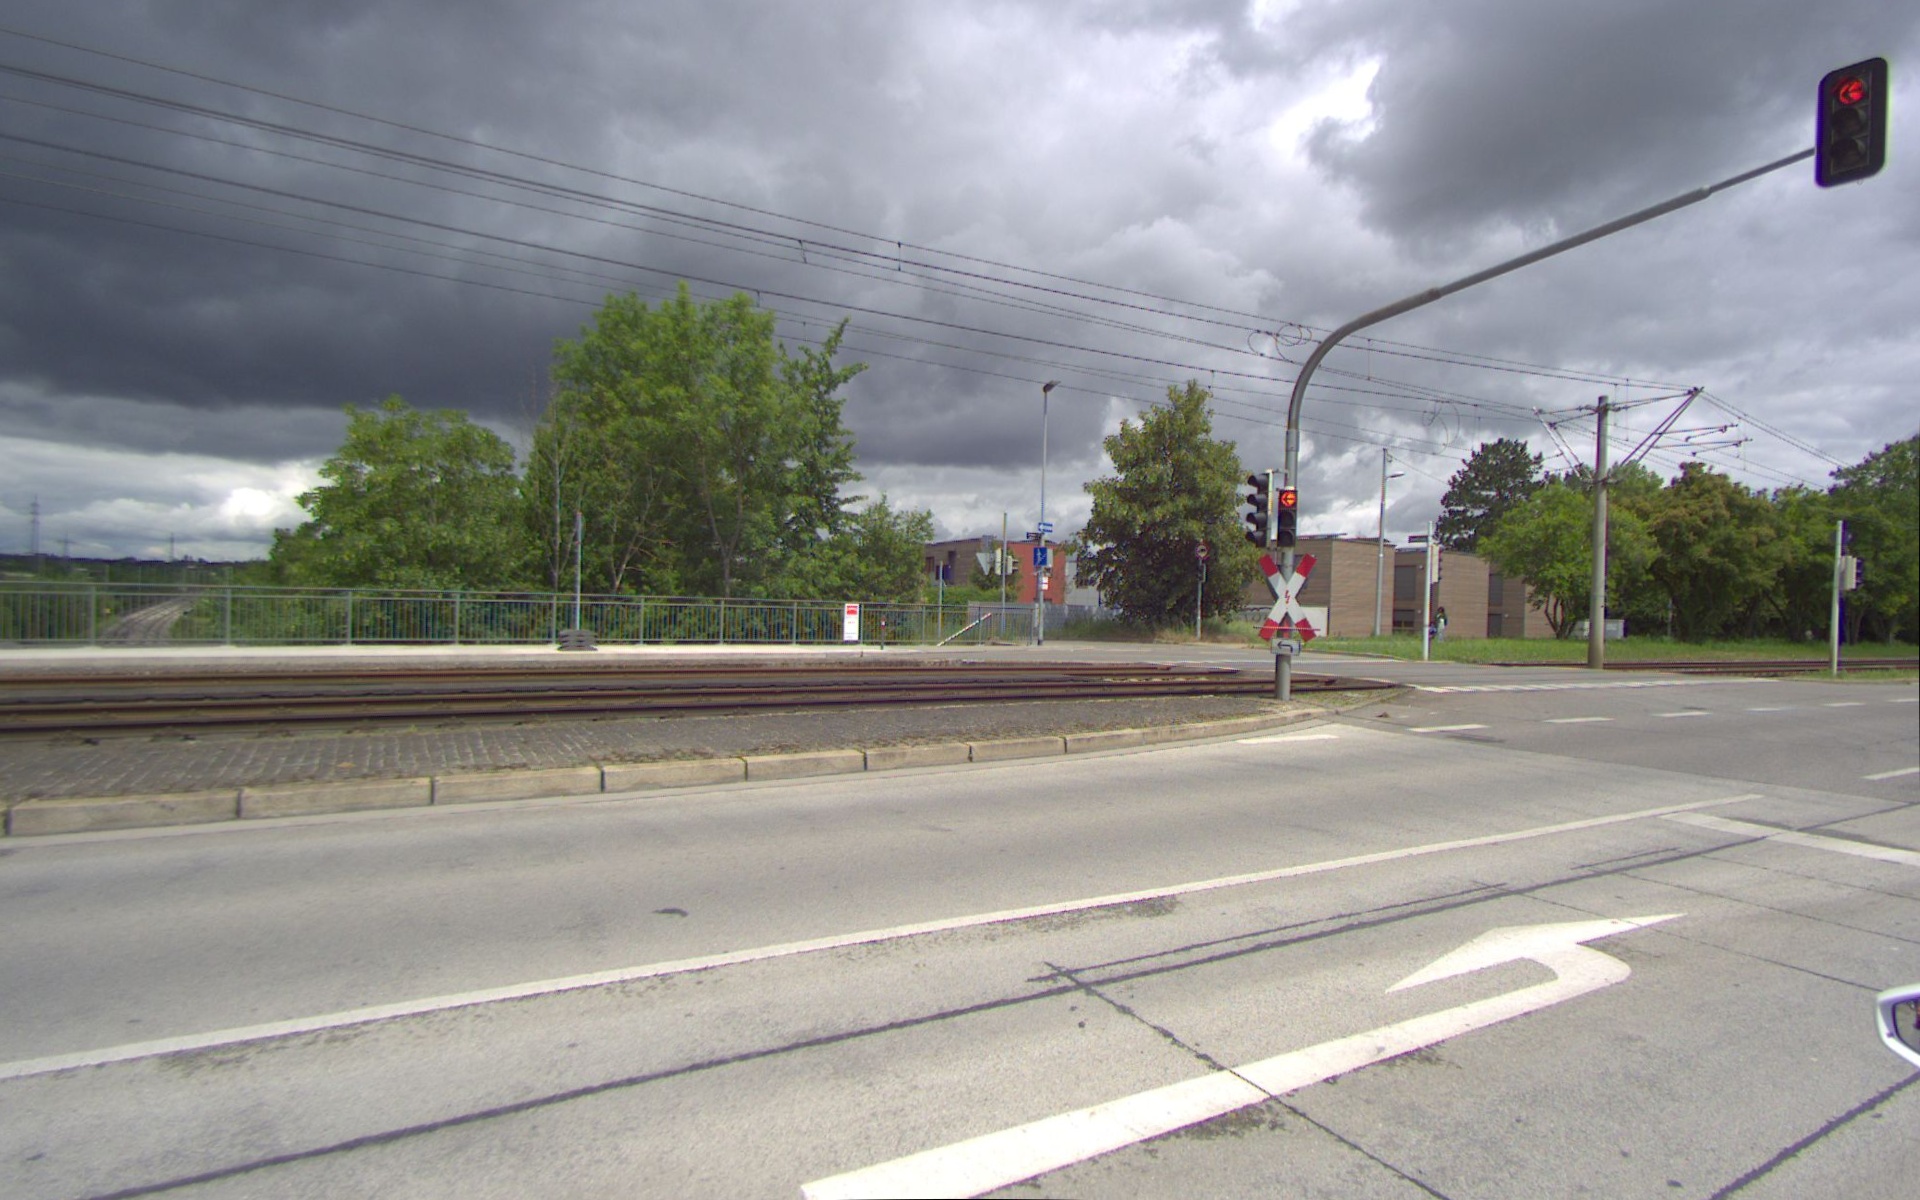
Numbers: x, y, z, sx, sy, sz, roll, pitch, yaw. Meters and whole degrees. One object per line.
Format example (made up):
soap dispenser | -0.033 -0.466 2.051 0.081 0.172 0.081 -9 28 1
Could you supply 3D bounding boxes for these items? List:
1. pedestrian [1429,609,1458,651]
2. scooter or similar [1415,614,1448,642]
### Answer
pedestrian | 22.032 1.363 45.795 0.799 1.835 0.798 2 2 -28
scooter or similar | 21.293 1.249 45.362 0.961 1.200 0.886 2 2 -30
